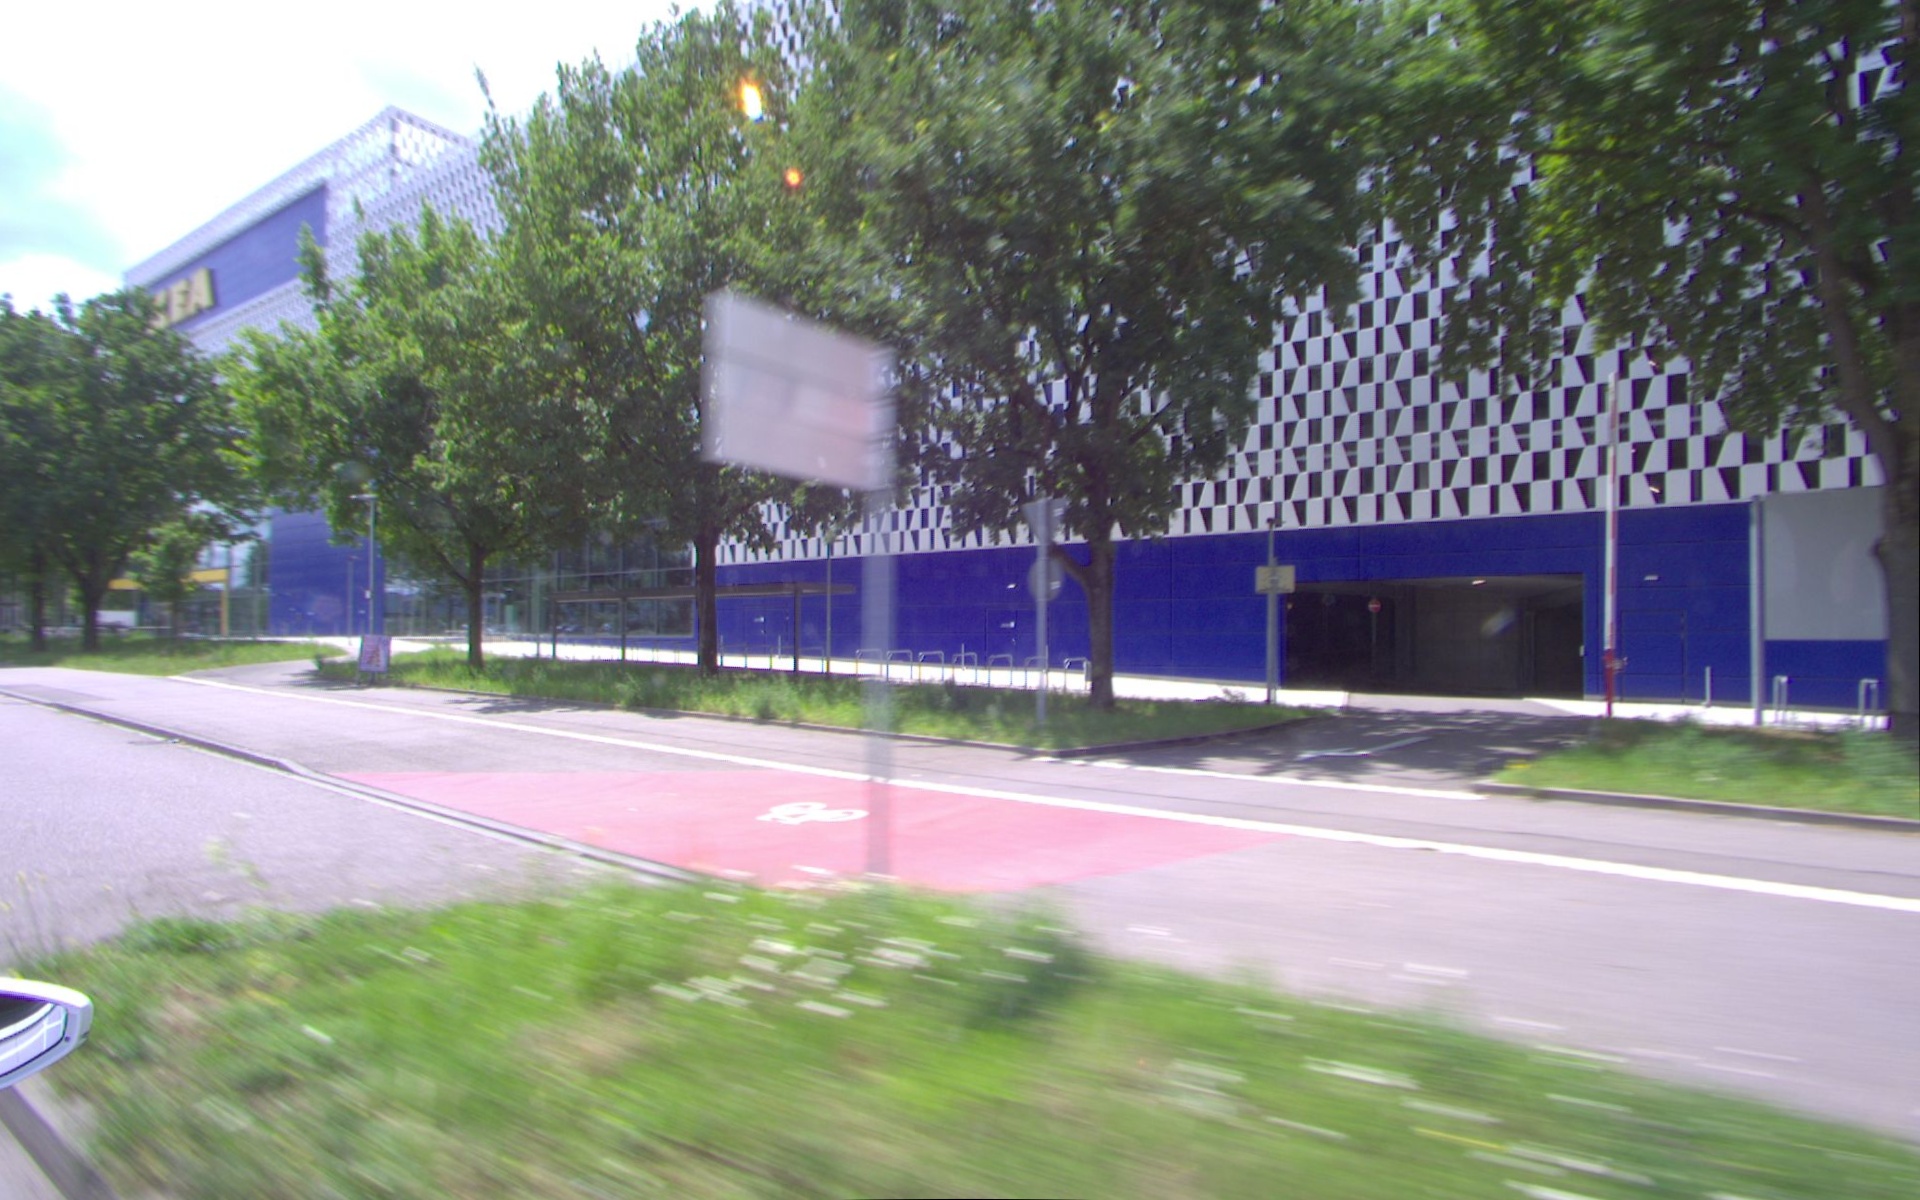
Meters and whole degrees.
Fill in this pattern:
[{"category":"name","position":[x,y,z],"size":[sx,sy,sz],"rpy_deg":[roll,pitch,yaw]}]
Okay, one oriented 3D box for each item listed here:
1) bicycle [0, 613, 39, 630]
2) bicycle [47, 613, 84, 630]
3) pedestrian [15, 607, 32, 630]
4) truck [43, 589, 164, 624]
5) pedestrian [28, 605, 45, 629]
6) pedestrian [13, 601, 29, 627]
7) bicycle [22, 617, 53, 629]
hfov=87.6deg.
[{"category":"bicycle","position":[-63.506,1.454,67.568],"size":[1.978,1.122,0.576],"rpy_deg":[0,0,-16]},{"category":"bicycle","position":[-69.155,1.649,77.400],"size":[2.126,1.245,0.714],"rpy_deg":[1,0,-44]},{"category":"pedestrian","position":[-82.035,1.604,87.705],"size":[1.000,1.925,0.966],"rpy_deg":[2,-4,-40]},{"category":"truck","position":[-115.409,0.980,135.199],"size":[2.914,4.156,11.924],"rpy_deg":[1,-2,37]},{"category":"pedestrian","position":[-81.968,1.517,88.897],"size":[1.000,2.097,0.967],"rpy_deg":[2,-4,-40]},{"category":"pedestrian","position":[-63.739,0.938,67.974],"size":[0.624,1.743,0.523],"rpy_deg":[0,-1,-17]},{"category":"bicycle","position":[-76.585,1.934,83.164],"size":[0.418,1.007,1.855],"rpy_deg":[1,-1,38]}]
